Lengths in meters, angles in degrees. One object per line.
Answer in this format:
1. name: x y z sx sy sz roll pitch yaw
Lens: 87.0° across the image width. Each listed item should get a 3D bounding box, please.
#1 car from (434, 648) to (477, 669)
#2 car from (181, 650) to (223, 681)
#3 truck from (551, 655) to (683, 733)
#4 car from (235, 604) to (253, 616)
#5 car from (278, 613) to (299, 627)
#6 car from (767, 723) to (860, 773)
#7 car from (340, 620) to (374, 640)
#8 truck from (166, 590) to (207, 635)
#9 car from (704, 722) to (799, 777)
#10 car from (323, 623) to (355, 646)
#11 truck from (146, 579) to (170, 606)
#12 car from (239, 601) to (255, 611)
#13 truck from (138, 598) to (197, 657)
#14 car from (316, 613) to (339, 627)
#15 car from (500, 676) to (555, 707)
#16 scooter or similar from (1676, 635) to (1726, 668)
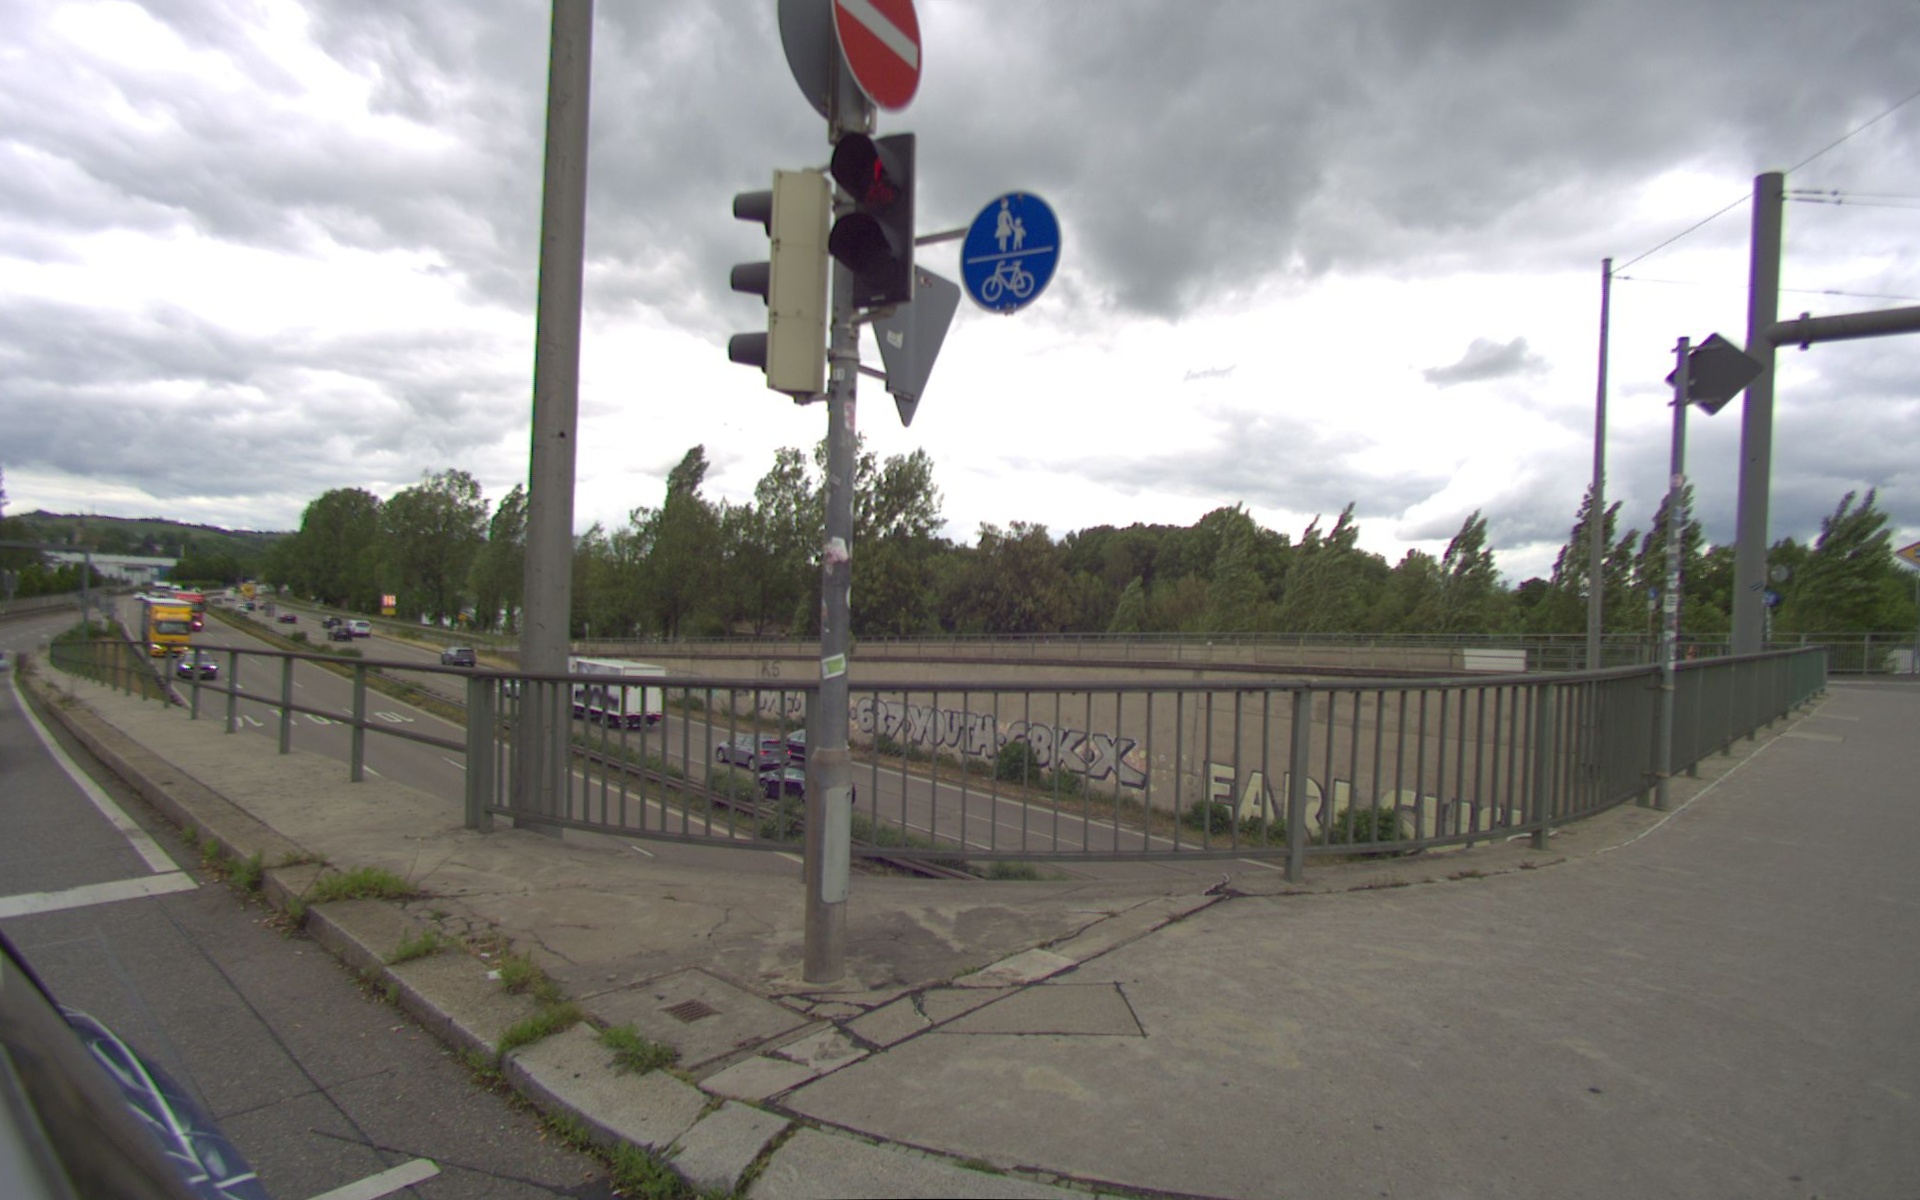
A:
1. car: -43.412 5.026 87.094 1.970 1.630 4.332 4 -3 -44
2. car: -49.312 4.247 65.827 1.851 1.710 3.847 4 -2 -40
3. truck: -19.189 5.143 56.338 3.542 3.482 8.247 5 -2 -44
4. car: -117.238 1.636 165.642 1.968 1.730 3.646 5 -3 -40
5. car: -93.531 2.811 140.950 1.968 1.730 3.646 5 -3 -40
6. car: -6.885 6.848 47.204 2.106 1.577 4.431 4 -1 -42
7. car: -70.585 3.518 118.411 2.558 2.029 4.649 4 -2 -40
8. truck: -85.113 1.237 111.210 2.845 4.389 13.281 3 -1 -40
9. car: -9.323 6.592 44.973 2.106 1.730 4.431 4 -1 -42
10. car: -67.241 3.709 109.510 2.191 2.028 4.650 4 0 -41
11. truck: -159.462 -1.498 201.254 3.326 4.991 13.963 2 0 -40
12. car: -128.660 1.117 182.721 1.968 1.730 3.646 5 -3 -40
13. truck: -63.943 2.139 81.553 2.858 4.215 10.039 5 -2 -41
14. car: -82.902 2.623 132.604 1.968 1.781 3.489 5 -3 -40
15. car: -27.849 5.848 65.125 1.969 1.630 4.335 5 -3 -41
16. scooter or similar: 24.787 1.710 33.886 1.333 1.064 0.479 -1 -2 37
